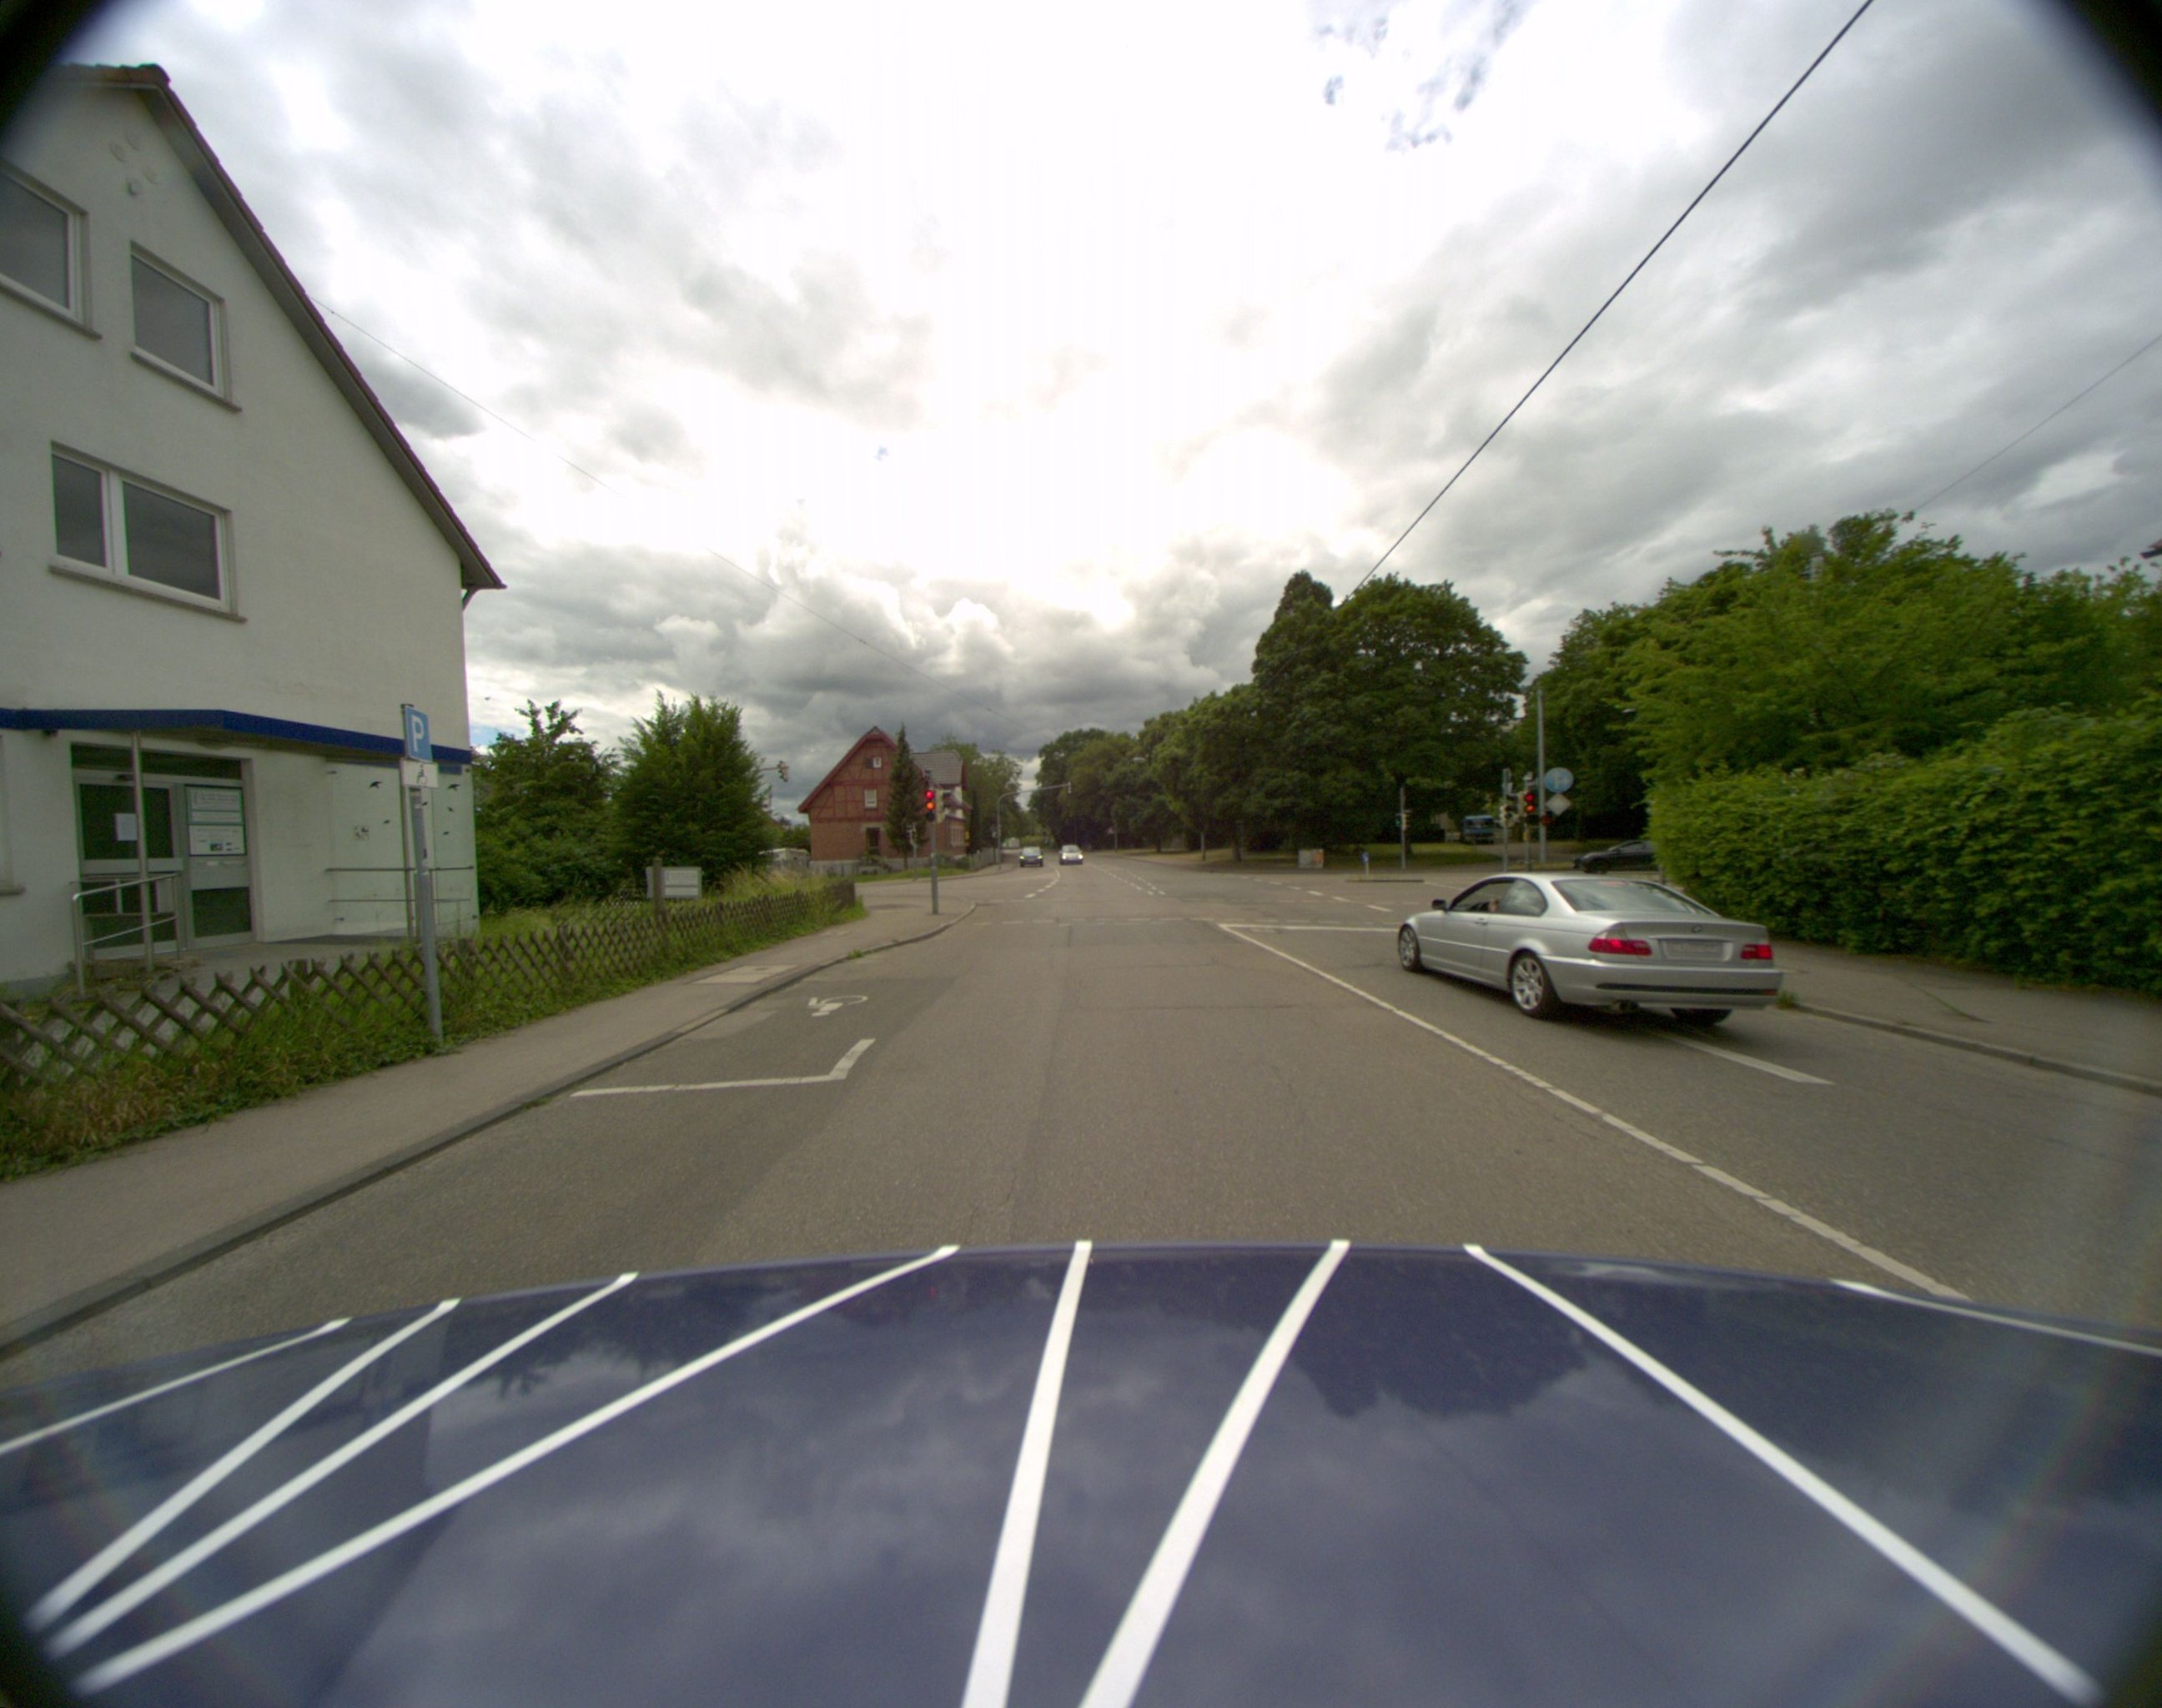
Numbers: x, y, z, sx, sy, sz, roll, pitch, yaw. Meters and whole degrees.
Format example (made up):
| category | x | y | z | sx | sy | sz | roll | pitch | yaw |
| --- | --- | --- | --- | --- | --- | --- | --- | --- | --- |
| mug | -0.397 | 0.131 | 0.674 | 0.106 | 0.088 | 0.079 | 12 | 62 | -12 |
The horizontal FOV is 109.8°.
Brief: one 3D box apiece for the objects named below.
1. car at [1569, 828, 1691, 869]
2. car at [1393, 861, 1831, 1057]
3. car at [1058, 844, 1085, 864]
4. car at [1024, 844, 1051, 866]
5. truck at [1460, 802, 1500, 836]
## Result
| category | x | y | z | sx | sy | sz | roll | pitch | yaw |
| --- | --- | --- | --- | --- | --- | --- | --- | --- | --- |
| car | 23.225 | -0.233 | 32.360 | 3.989 | 1.609 | 2.003 | -1 | 2 | 28 |
| car | 5.020 | 0.845 | 8.033 | 1.717 | 1.346 | 4.082 | 3 | 1 | 1 |
| car | -0.820 | -0.027 | 62.893 | 1.781 | 1.510 | 3.554 | -3 | 2 | -8 |
| car | -3.420 | 0.046 | 60.143 | 1.926 | 1.510 | 3.998 | -2 | 2 | -2 |
| truck | 35.253 | -3.078 | 67.288 | 2.477 | 2.831 | 7.442 | -1 | 2 | 23 |
